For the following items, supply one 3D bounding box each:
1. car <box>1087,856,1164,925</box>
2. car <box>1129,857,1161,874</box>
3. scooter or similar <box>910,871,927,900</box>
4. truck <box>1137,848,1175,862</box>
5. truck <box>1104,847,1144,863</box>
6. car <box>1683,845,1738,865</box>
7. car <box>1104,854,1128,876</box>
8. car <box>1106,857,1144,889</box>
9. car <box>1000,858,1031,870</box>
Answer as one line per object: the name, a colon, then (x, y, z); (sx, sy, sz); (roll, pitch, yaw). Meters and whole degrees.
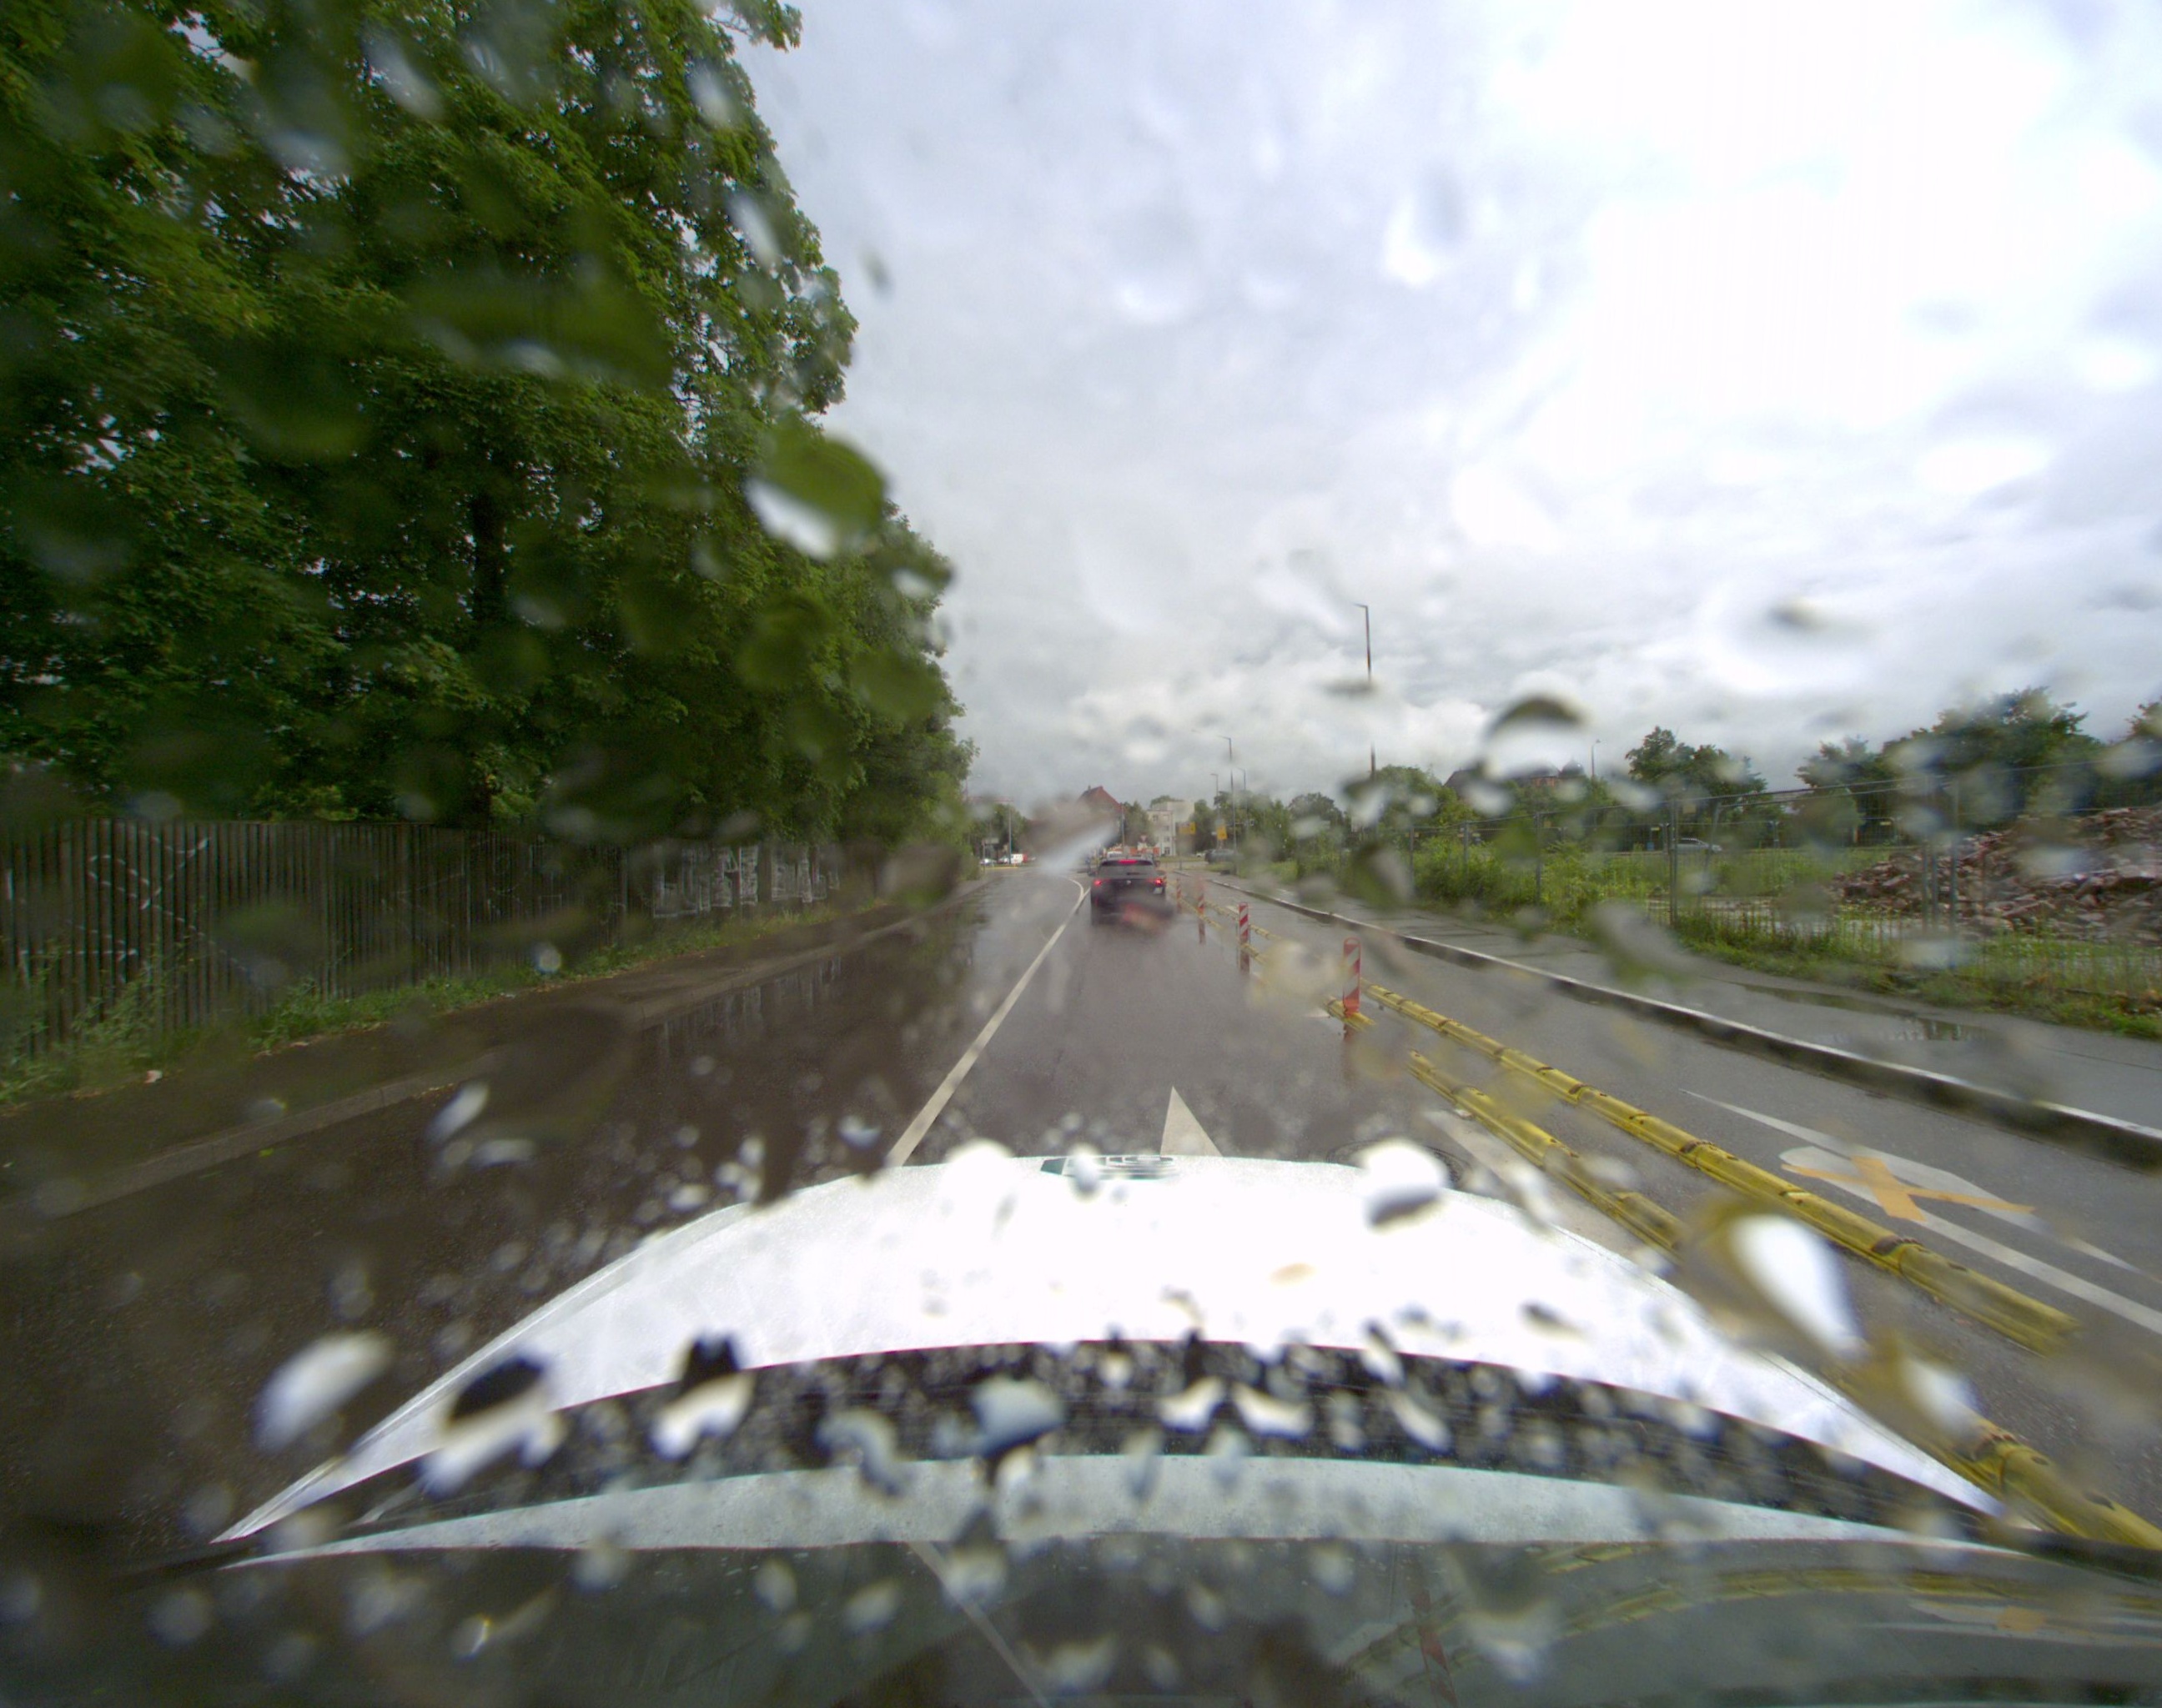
car: (1.050, 0.861, 20.663); (1.703, 1.574, 3.681); (-1, -1, -1)
car: (6.797, 1.189, 86.401); (1.649, 1.644, 3.980); (-2, 0, 34)
scooter or similar: (-6.874, 1.319, 34.528); (0.561, 1.162, 1.206); (-2, -1, -5)
truck: (14.246, 0.179, 154.151); (6.649, 2.442, 2.445); (-2, -1, 17)
truck: (7.723, 0.229, 146.716); (7.035, 2.650, 2.332); (-1, 0, 3)
car: (52.997, 0.064, 68.562); (3.485, 1.546, 1.641); (-2, -1, 43)
car: (3.017, 0.939, 71.851); (1.858, 1.809, 4.402); (-1, 0, 0)
car: (2.213, 0.952, 41.504); (1.729, 1.514, 3.603); (-1, 0, 0)
car: (-11.197, 1.745, 139.654); (5.156, 1.876, 1.873); (-2, 0, -37)
